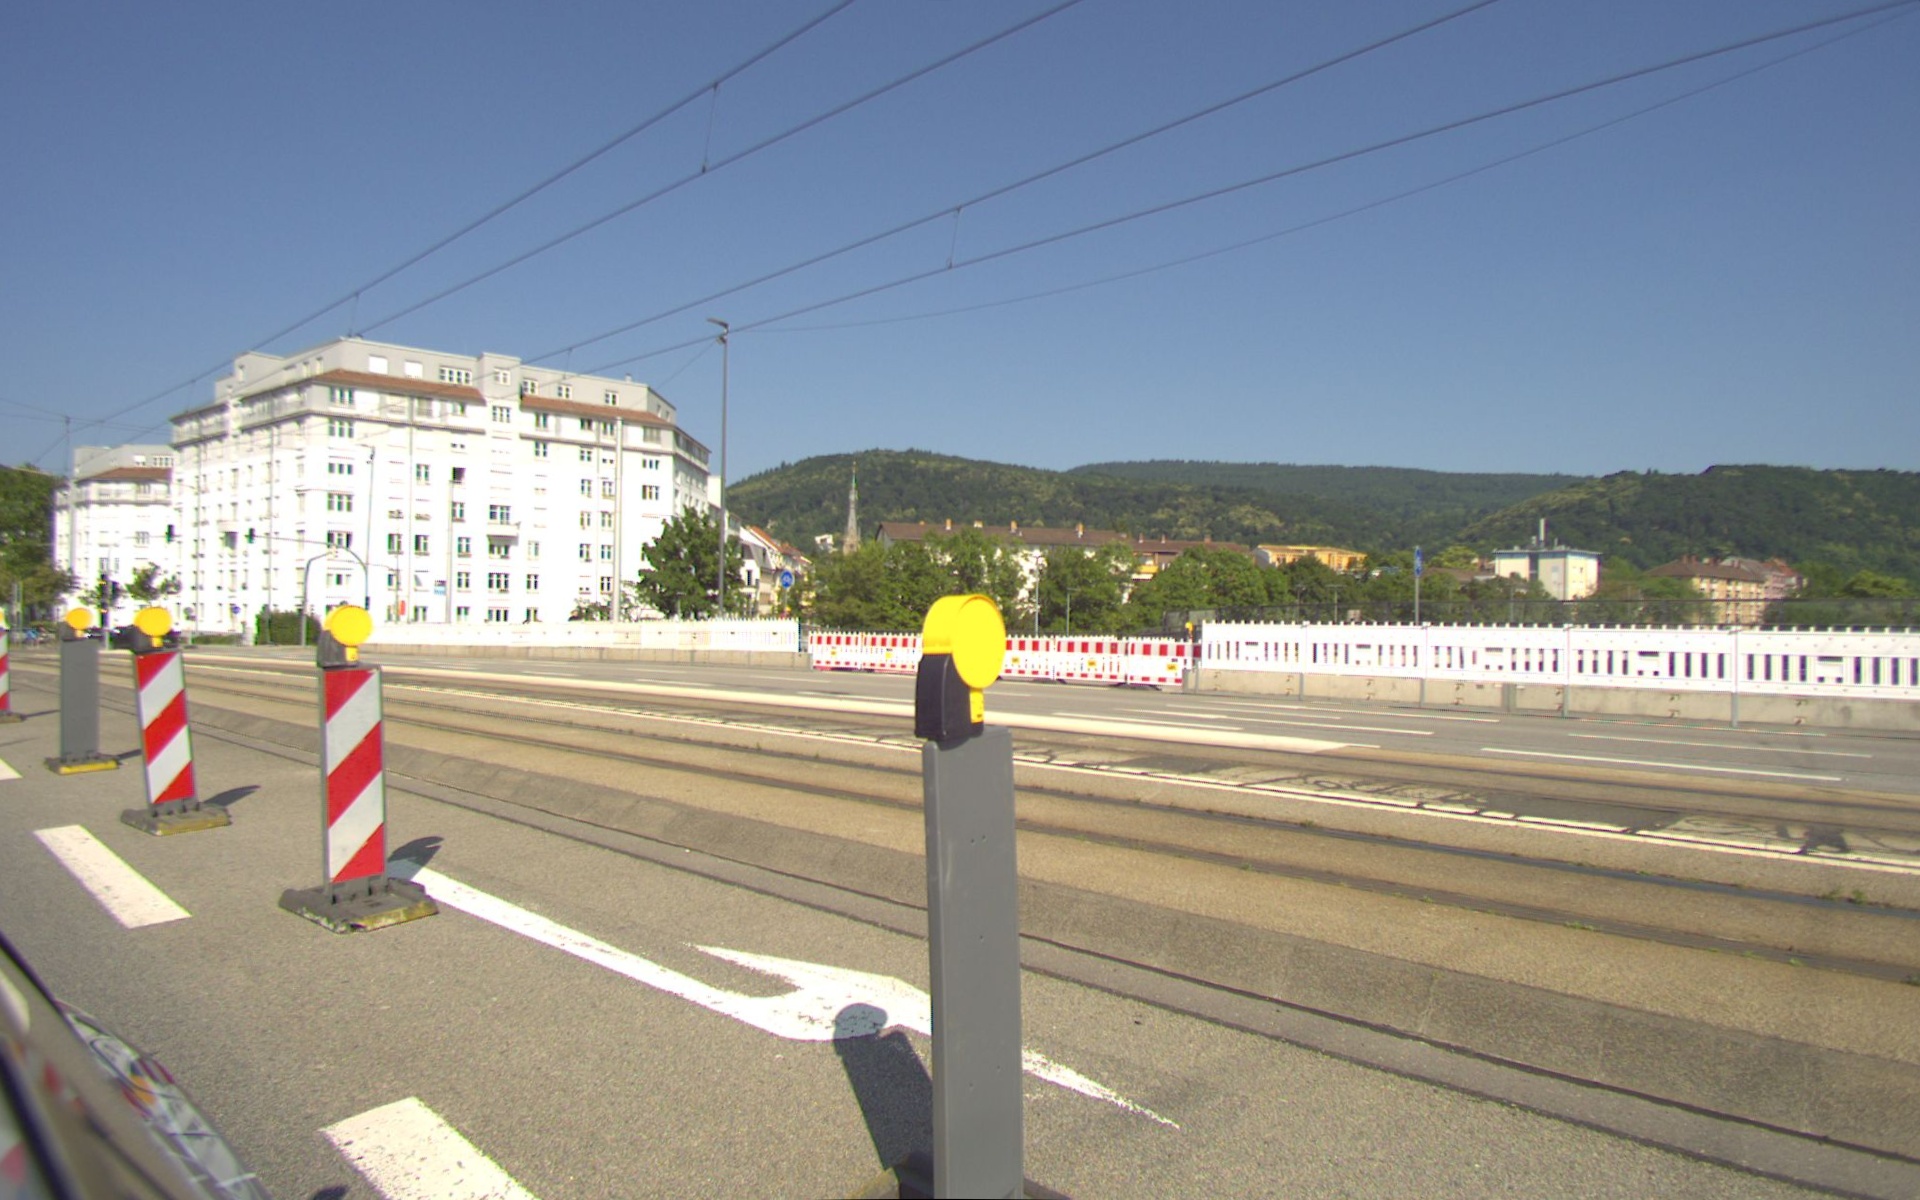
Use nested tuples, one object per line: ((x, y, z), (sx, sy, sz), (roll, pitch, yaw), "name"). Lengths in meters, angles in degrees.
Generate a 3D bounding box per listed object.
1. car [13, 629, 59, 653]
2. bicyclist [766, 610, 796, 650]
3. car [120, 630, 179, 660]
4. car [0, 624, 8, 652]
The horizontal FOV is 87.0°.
((-64.388, 2.846, 70.476), (4.000, 1.497, 2.011), (0, -1, 43), "car")
((-6.997, 1.171, 39.570), (0.817, 1.530, 0.847), (0, 0, 41), "bicyclist")
((-41.867, 2.290, 52.251), (4.000, 1.497, 1.777), (-1, -1, 43), "car")
((-53.245, 2.101, 53.422), (3.940, 1.497, 2.042), (-1, -1, -4), "car")
